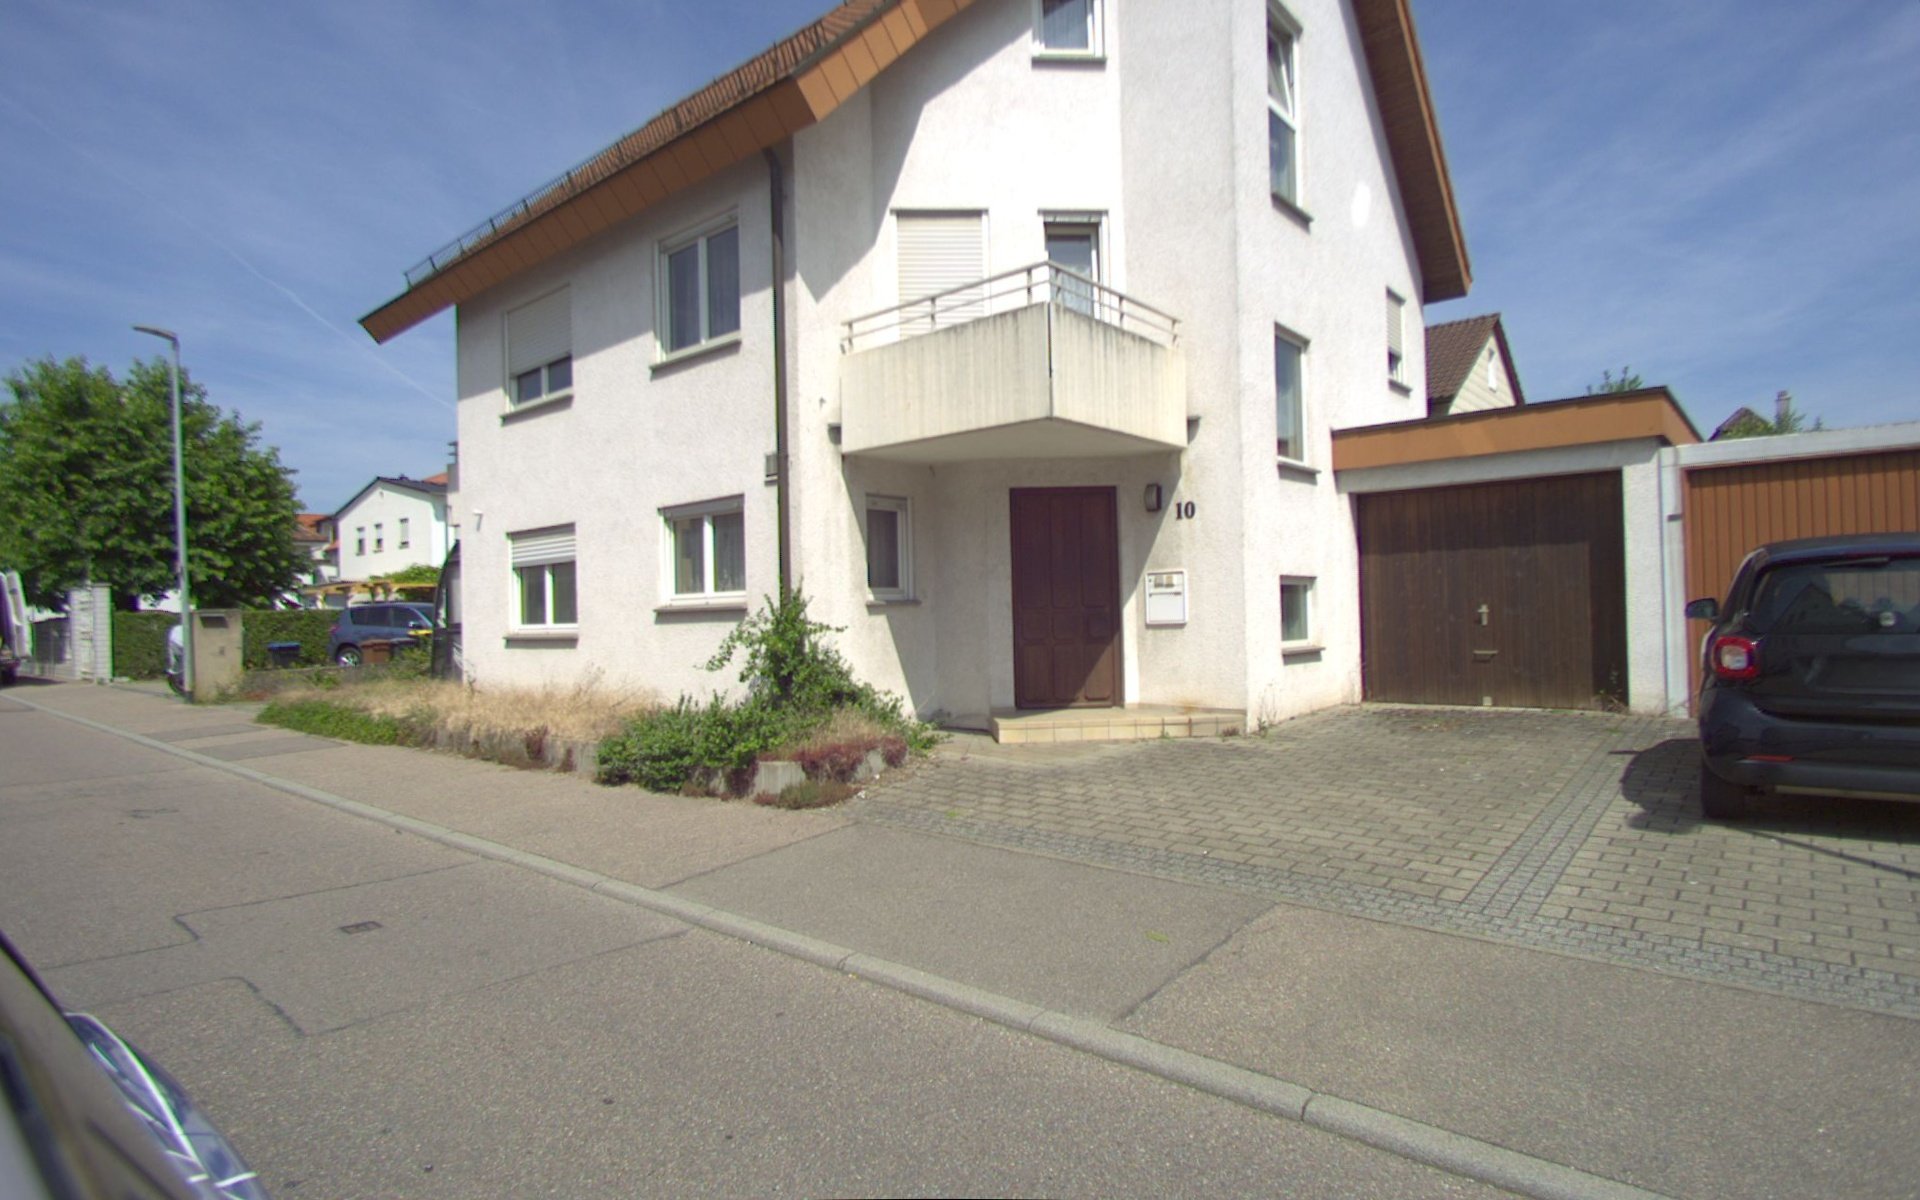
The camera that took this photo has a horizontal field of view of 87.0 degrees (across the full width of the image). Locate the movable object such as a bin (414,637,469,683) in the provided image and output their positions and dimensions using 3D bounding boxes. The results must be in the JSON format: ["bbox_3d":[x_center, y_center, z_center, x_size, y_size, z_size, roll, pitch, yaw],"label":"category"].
[{"bbox_3d":[-10.848,1.239,21.182,0.773,0.912,0.792,-2,-1,39],"label":"movable object such as a bin"}]

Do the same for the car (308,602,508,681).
[{"bbox_3d":[-12.606,0.931,23.158,3.902,1.691,1.765,-1,-1,15],"label":"car"}]

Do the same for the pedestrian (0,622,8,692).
[{"bbox_3d":[-21.615,1.277,22.434,0.725,1.529,0.567,-2,2,38],"label":"pedestrian"}]

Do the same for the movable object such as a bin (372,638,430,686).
[{"bbox_3d":[-11.342,1.244,20.539,0.773,0.912,0.792,-2,-1,39],"label":"movable object such as a bin"}]

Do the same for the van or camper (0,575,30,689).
[{"bbox_3d":[-24.761,0.811,24.635,6.799,2.591,2.163,-2,0,39],"label":"van or camper"}]

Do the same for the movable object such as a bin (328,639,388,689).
[{"bbox_3d":[-11.840,1.246,19.909,0.773,0.912,0.792,-2,-1,39],"label":"movable object such as a bin"}]

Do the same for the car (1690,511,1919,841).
[{"bbox_3d":[5.588,0.281,6.129,1.712,1.588,3.081,-2,3,39],"label":"car"}]

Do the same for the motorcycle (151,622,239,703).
[{"bbox_3d":[-14.154,1.115,18.698,2.350,1.403,0.775,-2,-1,40],"label":"motorcycle"}]
